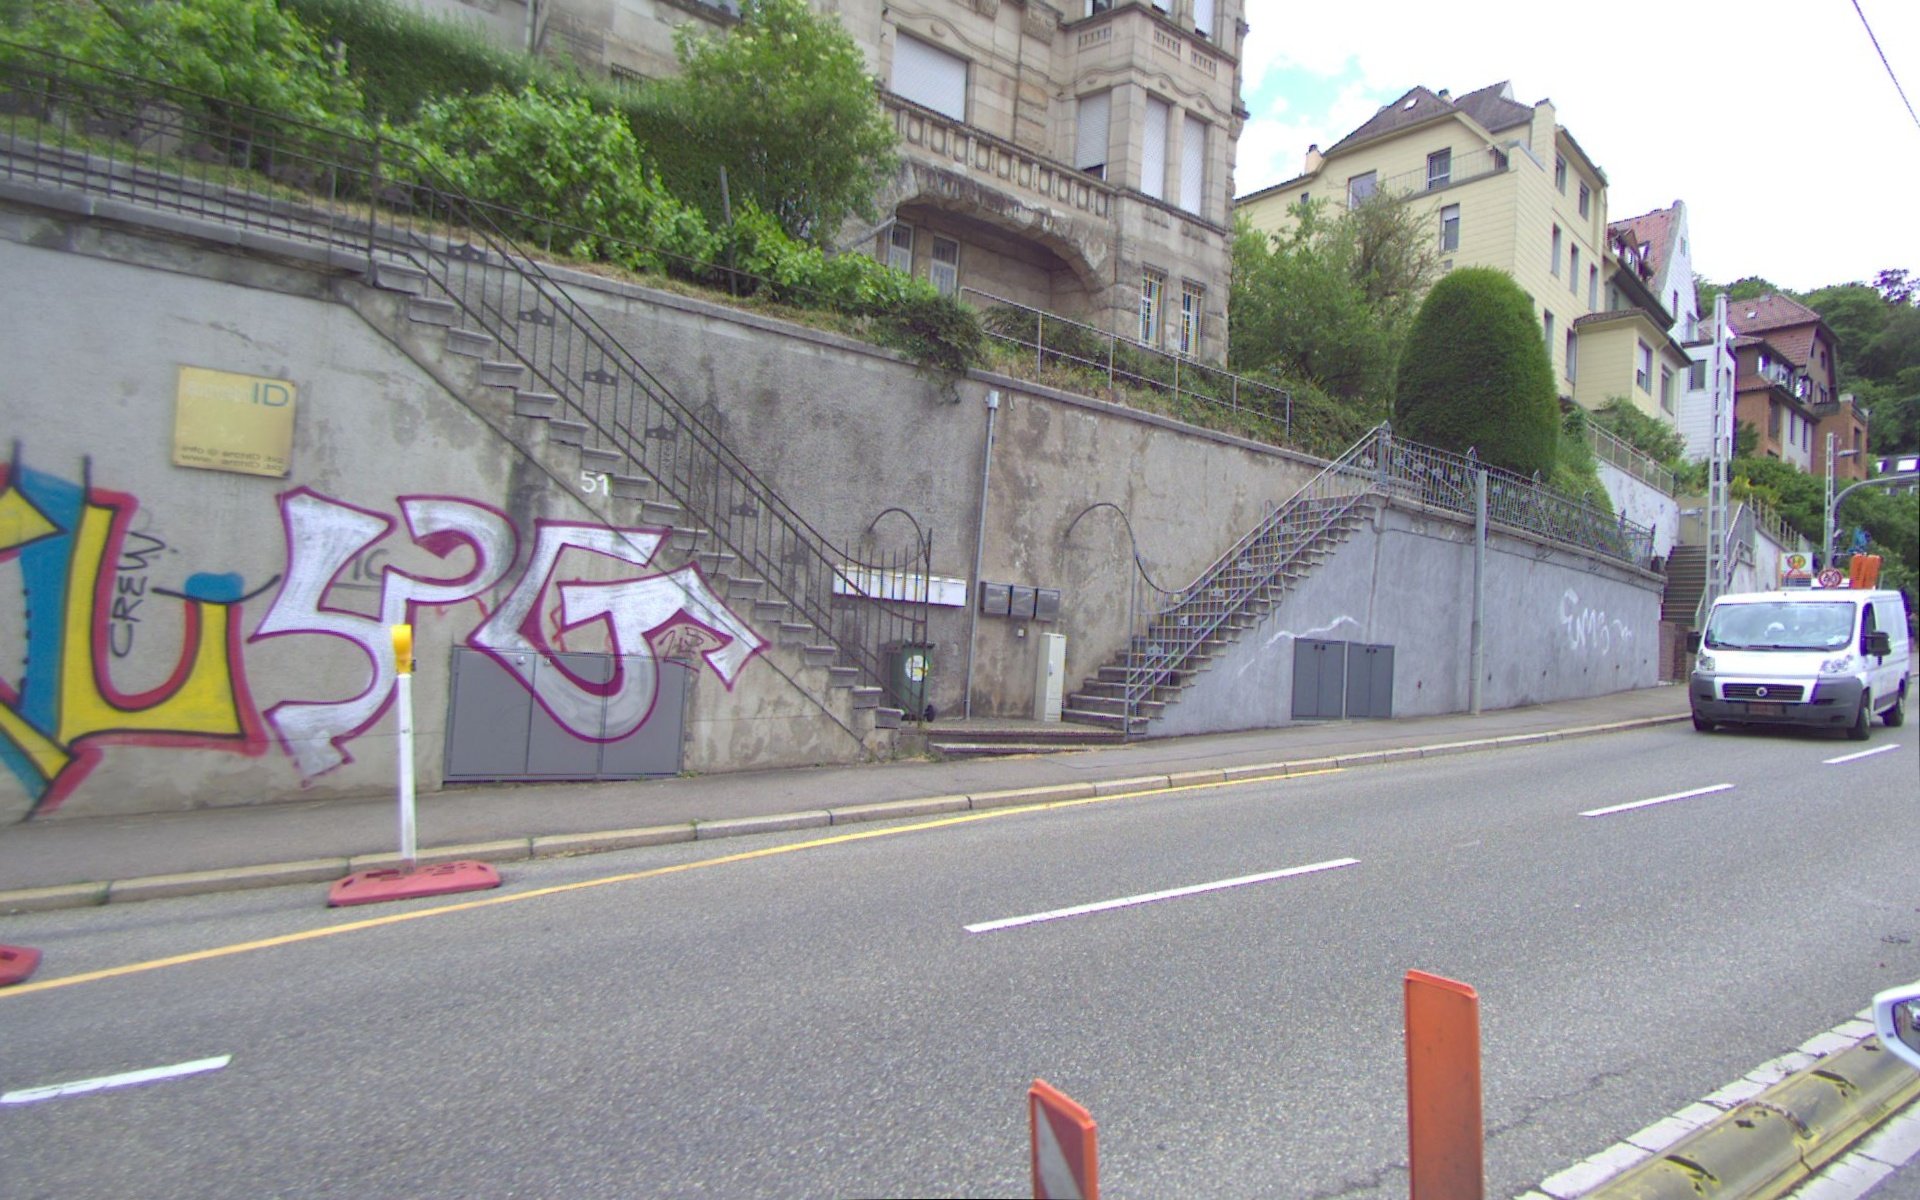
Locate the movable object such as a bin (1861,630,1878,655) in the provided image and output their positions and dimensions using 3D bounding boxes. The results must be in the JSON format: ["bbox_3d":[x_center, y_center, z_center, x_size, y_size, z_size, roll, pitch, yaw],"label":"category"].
[{"bbox_3d":[40.277,1.865,44.485,0.619,1.068,0.464,1,1,-40],"label":"movable object such as a bin"}]

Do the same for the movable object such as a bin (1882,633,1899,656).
[{"bbox_3d":[40.702,1.944,43.940,0.619,0.947,0.464,1,1,-40],"label":"movable object such as a bin"}]

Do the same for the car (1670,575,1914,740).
[{"bbox_3d":[13.239,0.848,15.881,4.921,2.216,2.050,1,-3,-40],"label":"car"}]

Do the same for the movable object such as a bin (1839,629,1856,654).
[{"bbox_3d":[39.807,1.854,45.053,0.619,1.068,0.464,1,1,-40],"label":"movable object such as a bin"}]

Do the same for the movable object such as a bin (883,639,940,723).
[{"bbox_3d":[-0.556,0.919,11.518,0.502,0.923,0.451,1,-1,-31],"label":"movable object such as a bin"}]
